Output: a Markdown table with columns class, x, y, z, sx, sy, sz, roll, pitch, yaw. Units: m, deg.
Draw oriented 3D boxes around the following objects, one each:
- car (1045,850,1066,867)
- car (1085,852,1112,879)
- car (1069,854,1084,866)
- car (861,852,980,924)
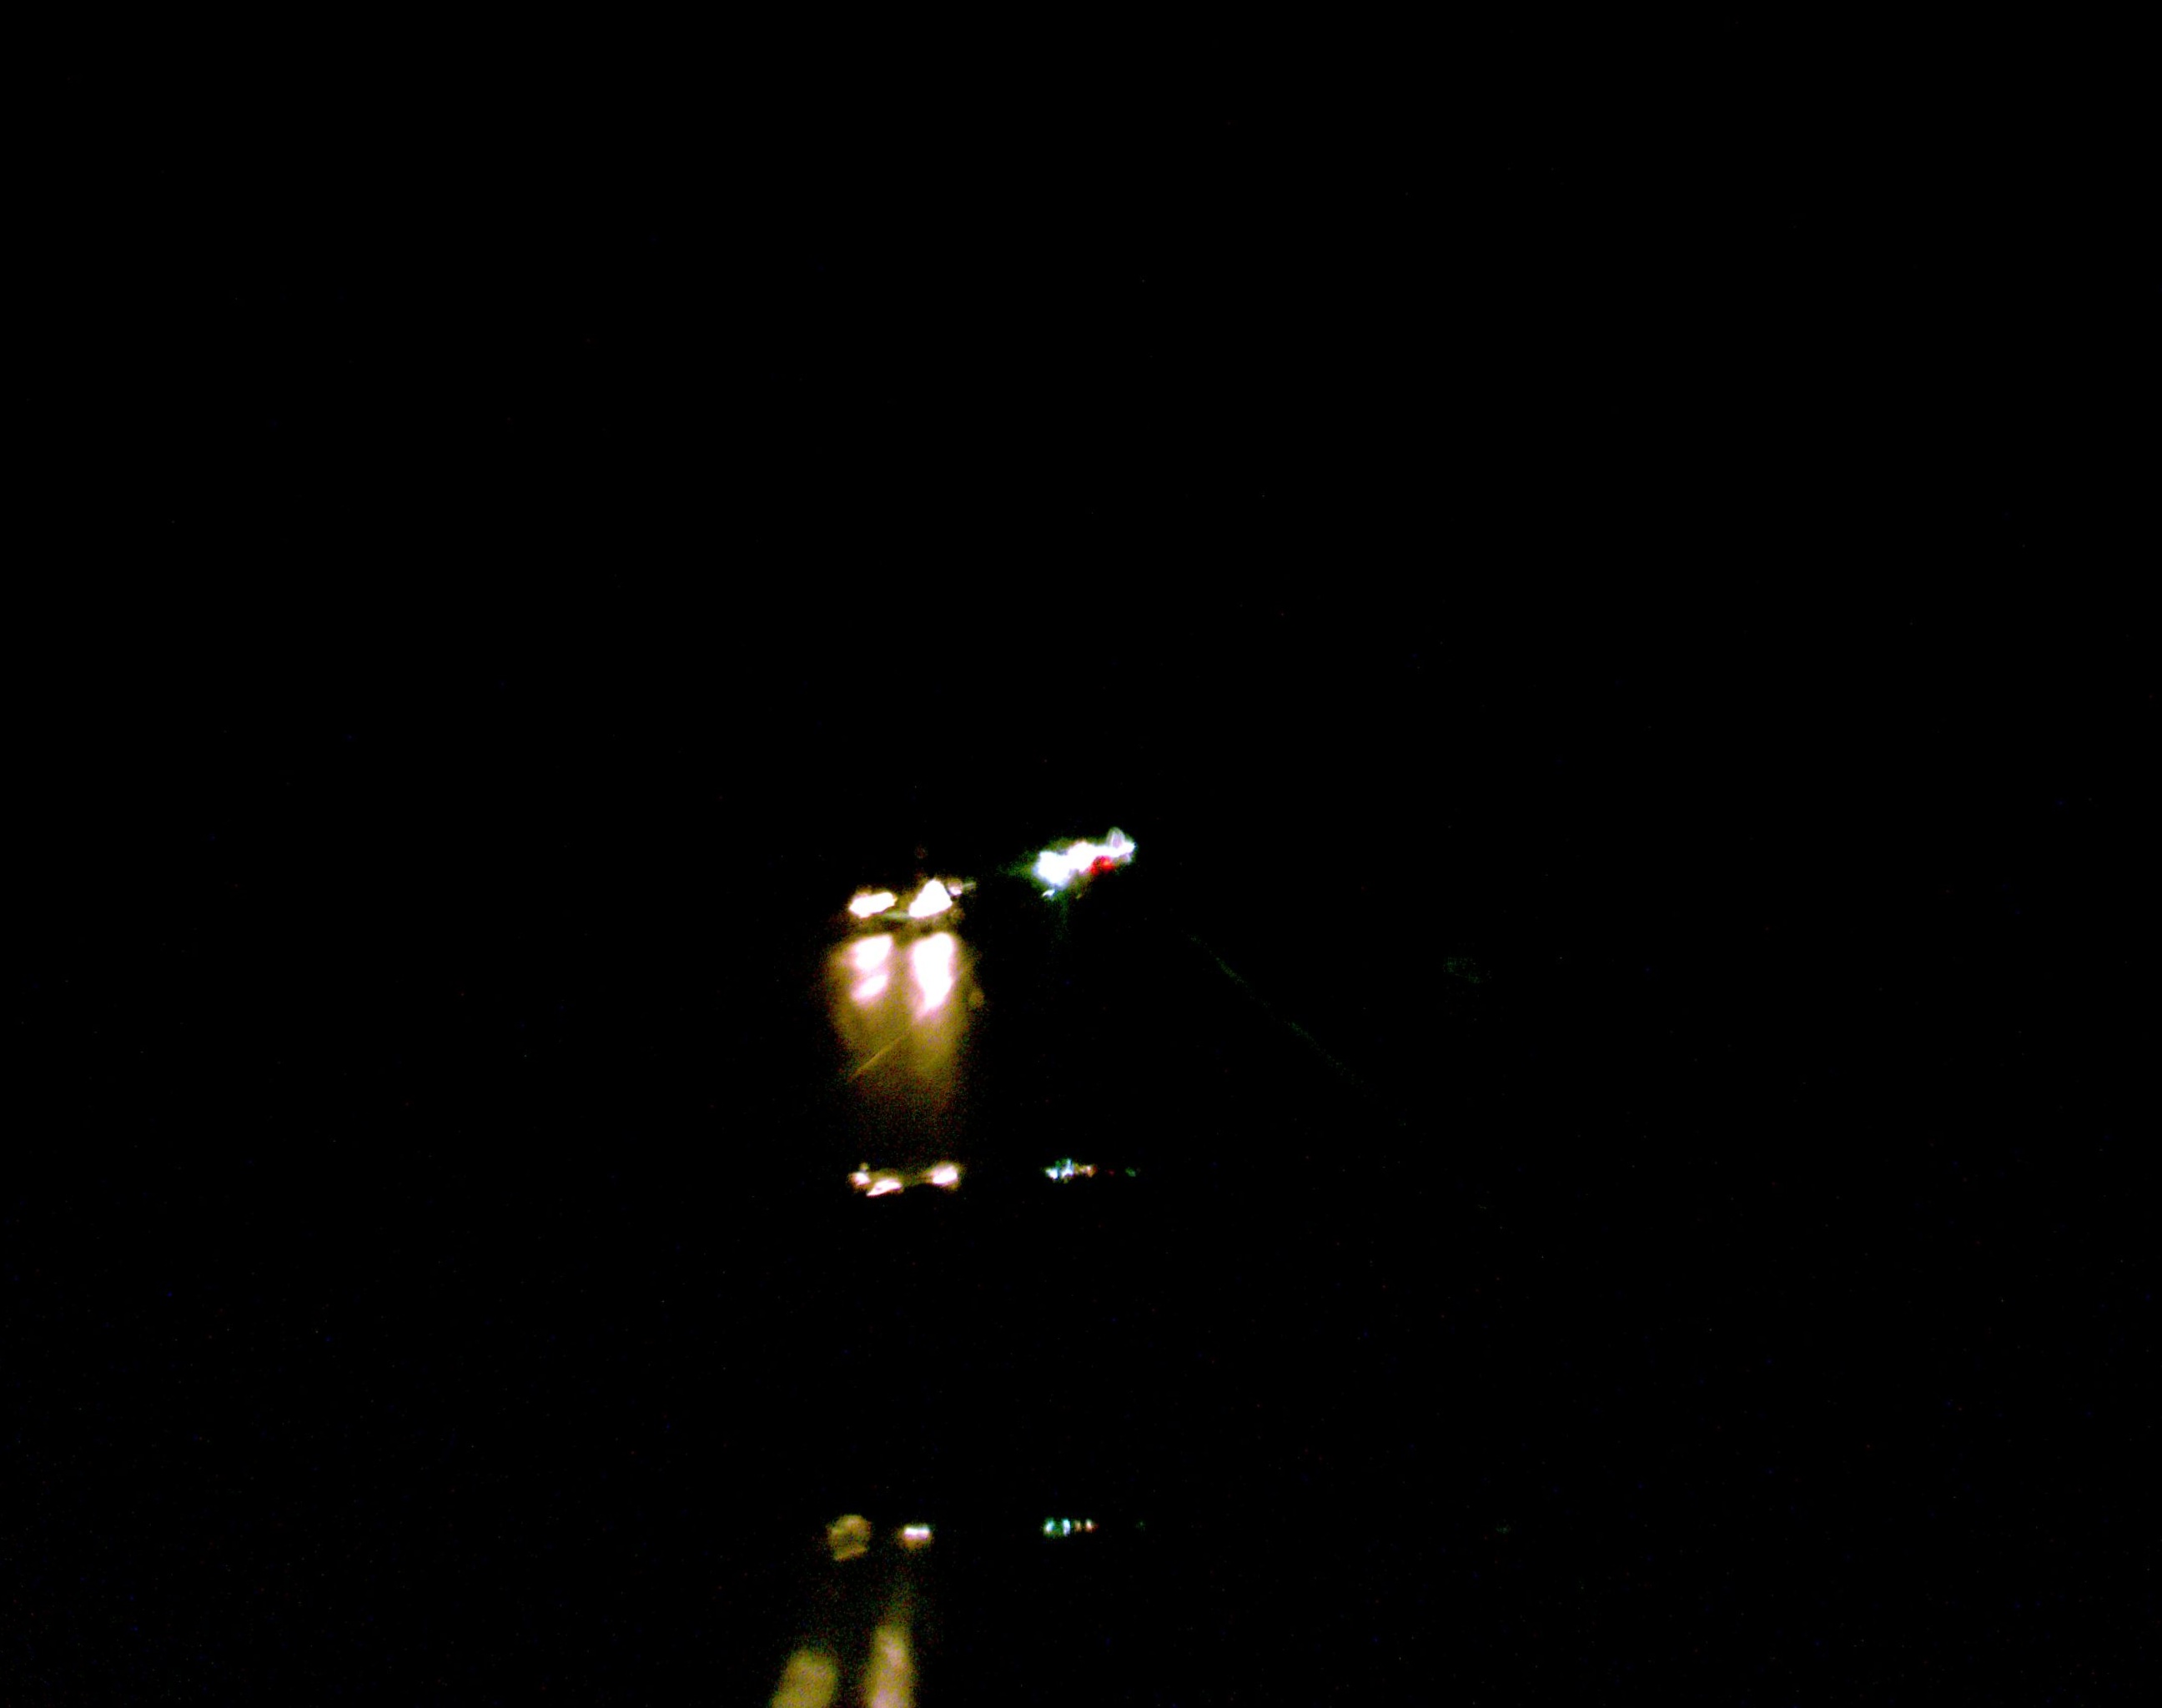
| class | x | y | z | sx | sy | sz | roll | pitch | yaw |
| --- | --- | --- | --- | --- | --- | --- | --- | --- | --- |
| car | -2.591 | 0.474 | 83.226 | 1.989 | 1.661 | 3.994 | 1 | -1 | -4 |
| car | 1.276 | 0.796 | 57.811 | 1.835 | 1.740 | 4.003 | 1 | 1 | 2 |
| car | -0.680 | 0.908 | 121.792 | 1.986 | 1.661 | 4.001 | 0 | -1 | 2 |
| car | -3.751 | 0.759 | 19.767 | 1.986 | 1.549 | 4.001 | -1 | -1 | 1 |
